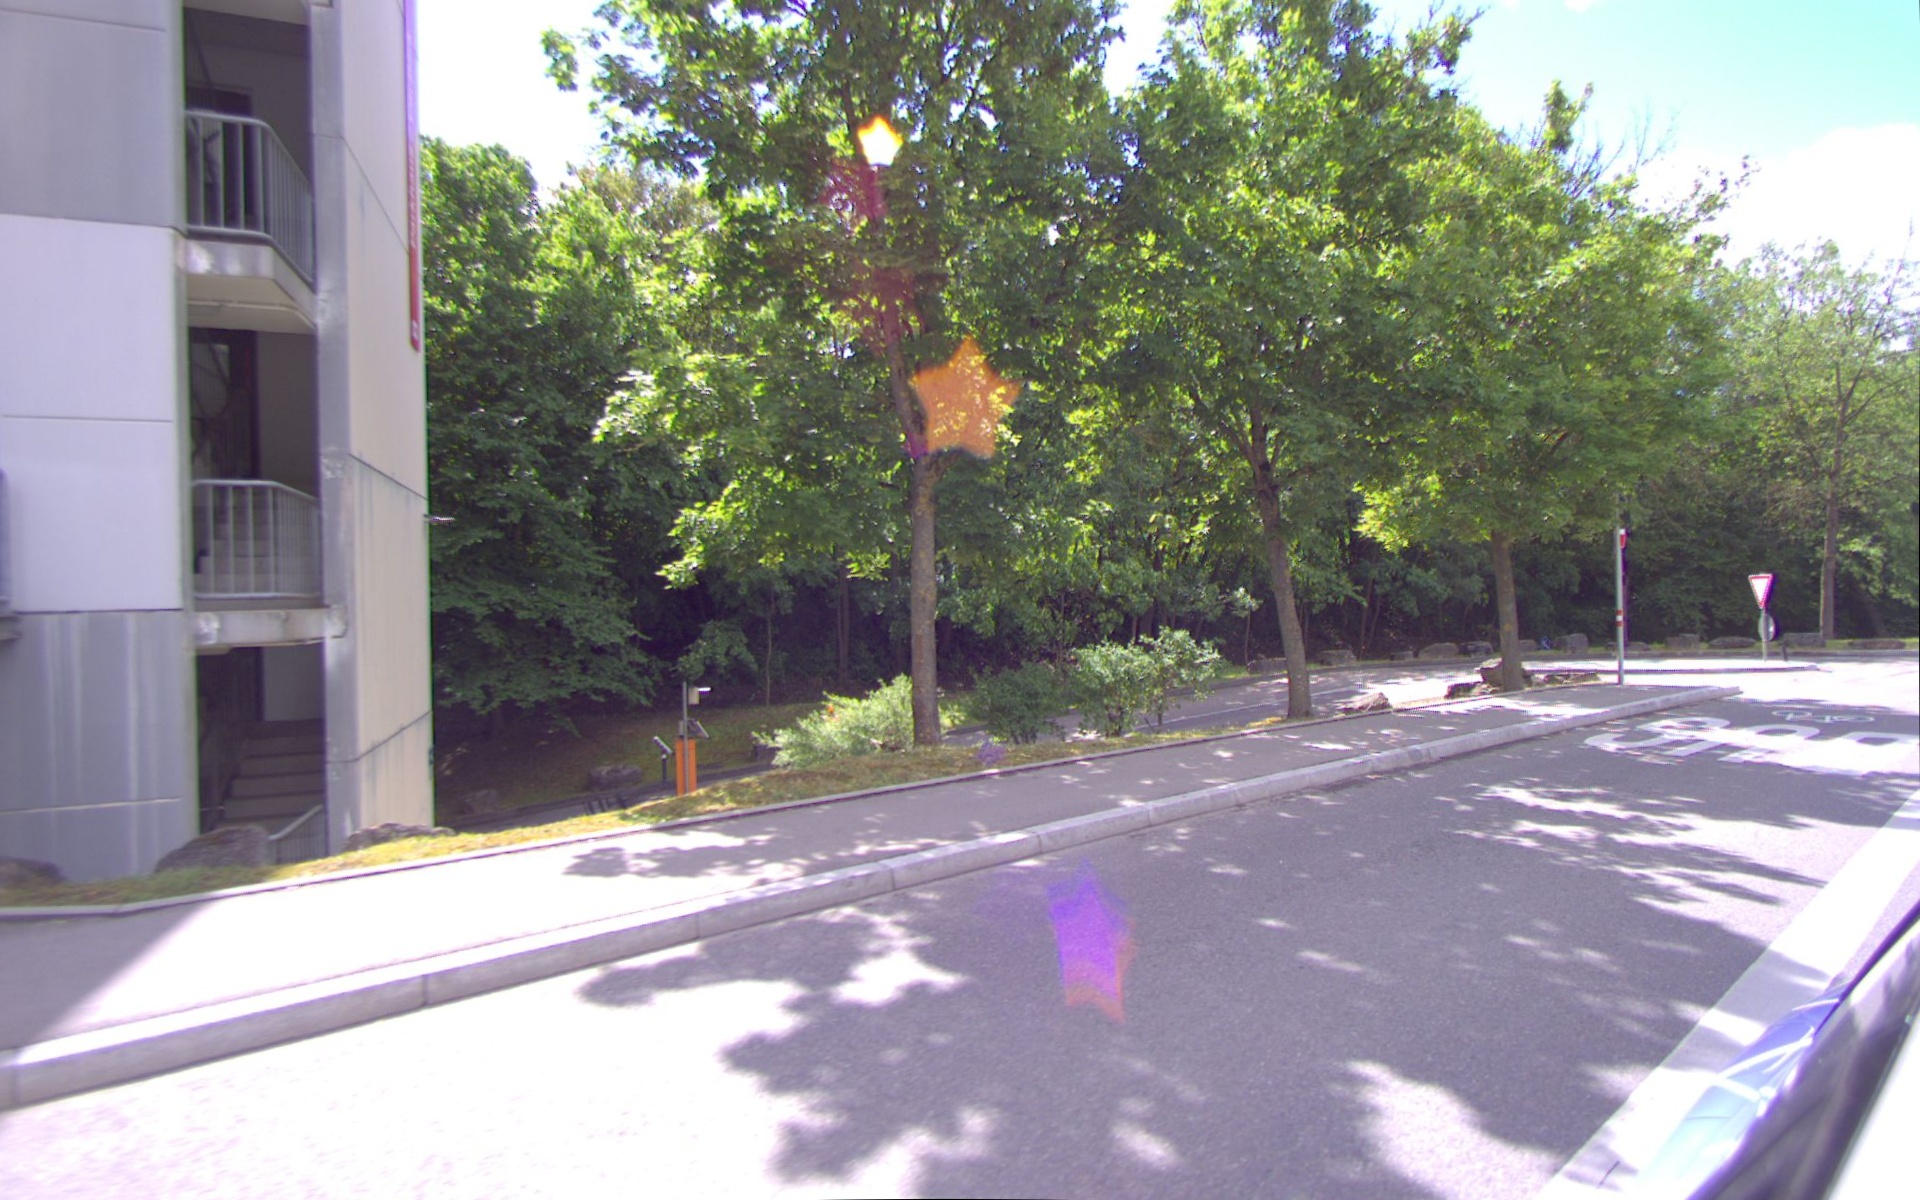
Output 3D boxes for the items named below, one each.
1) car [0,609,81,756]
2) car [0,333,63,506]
[{"bbox_3d":[-10.467,0.844,9.841,1.630,1.483,3.783,0,0,-20],"label":"car"},{"bbox_3d":[-10.385,-1.903,9.512,1.630,1.645,3.783,0,0,-20],"label":"car"}]
